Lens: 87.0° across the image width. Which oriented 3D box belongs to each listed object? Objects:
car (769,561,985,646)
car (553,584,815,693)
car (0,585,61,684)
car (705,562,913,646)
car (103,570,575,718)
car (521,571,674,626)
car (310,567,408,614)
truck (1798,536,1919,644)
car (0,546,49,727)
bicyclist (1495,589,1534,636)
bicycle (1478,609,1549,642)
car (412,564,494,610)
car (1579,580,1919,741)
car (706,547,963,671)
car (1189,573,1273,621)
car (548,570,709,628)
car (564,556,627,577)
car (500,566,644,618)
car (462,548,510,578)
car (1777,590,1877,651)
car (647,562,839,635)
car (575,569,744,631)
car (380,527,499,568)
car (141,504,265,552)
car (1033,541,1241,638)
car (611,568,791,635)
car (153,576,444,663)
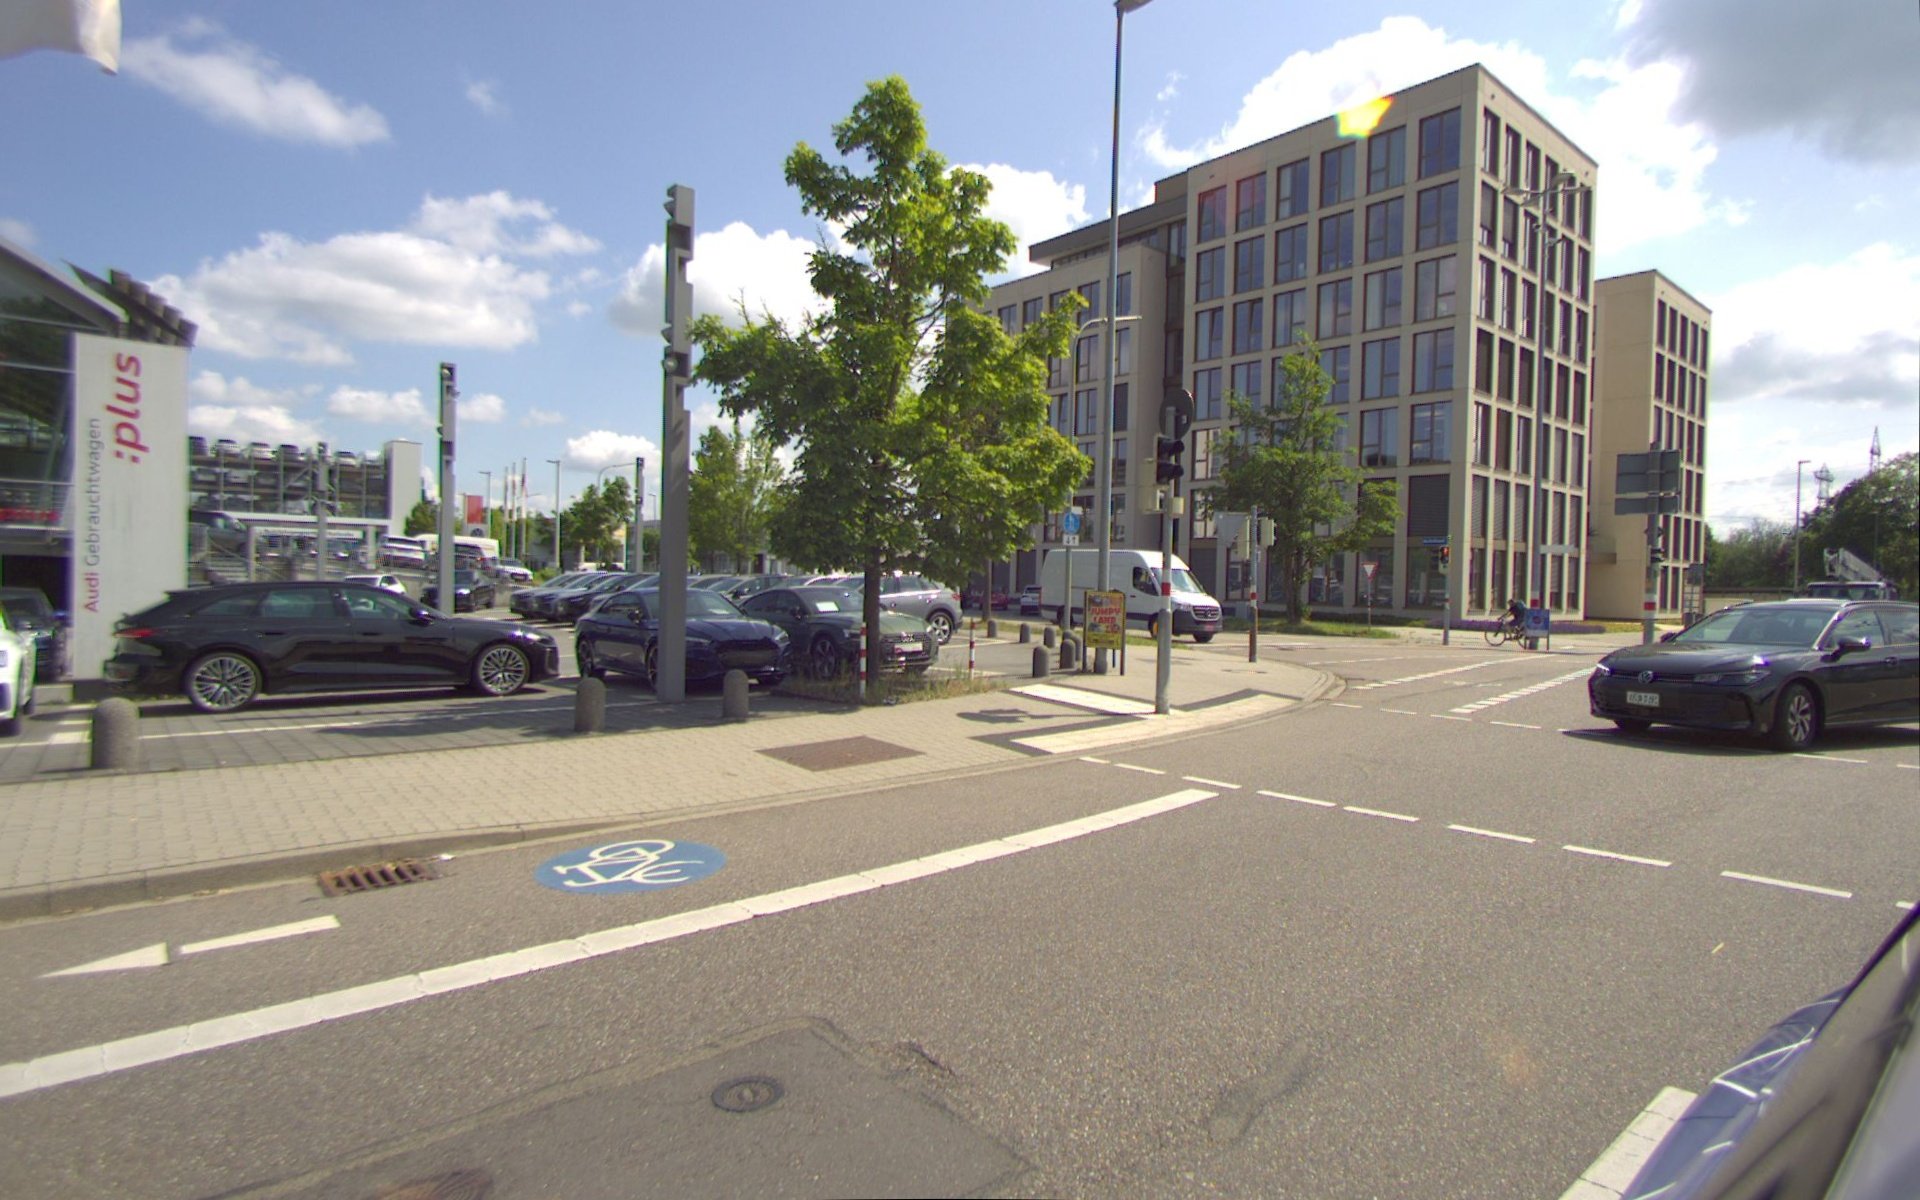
[{"bbox_3d":[-1.773,0.023,22.438,4.508,1.699,1.905,-1,1,-39],"label":"car"},{"bbox_3d":[-4.127,0.465,14.620,1.873,1.314,4.583,2,-1,-40],"label":"car"},{"bbox_3d":[-17.087,0.539,17.723,1.873,1.517,4.355,0,2,-40],"label":"car"},{"bbox_3d":[-3.506,0.032,24.008,4.509,1.698,1.905,-4,3,-39],"label":"car"},{"bbox_3d":[-7.366,0.467,12.358,4.671,1.483,1.793,0,-2,-40],"label":"car"},{"bbox_3d":[-12.332,-0.009,34.585,4.506,1.699,1.905,2,-1,-39],"label":"car"},{"bbox_3d":[-23.576,-0.336,39.895,1.867,1.699,4.598,2,-1,-12],"label":"car"},{"bbox_3d":[34.022,-0.203,38.068,9.617,3.600,2.669,2,-1,-43],"label":"truck"},{"bbox_3d":[-9.701,0.355,9.346,1.764,1.483,3.993,0,-2,-40],"label":"car"},{"bbox_3d":[18.183,0.395,33.171,0.626,1.496,0.916,2,-1,-33],"label":"bicyclist"},{"bbox_3d":[18.149,0.831,33.202,0.636,1.024,1.979,2,-1,-32],"label":"bicycle"},{"bbox_3d":[-20.797,-0.493,41.744,1.867,1.699,4.598,2,-1,-12],"label":"car"},{"bbox_3d":[9.498,0.615,11.077,5.094,1.497,1.818,2,0,-20],"label":"car"},{"bbox_3d":[-2.161,0.120,16.255,1.873,1.699,4.583,2,-1,-40],"label":"car"},{"bbox_3d":[12.533,-0.106,46.686,3.933,2.039,1.995,2,-1,-44],"label":"car"},{"bbox_3d":[-10.574,-0.001,32.480,4.506,1.699,1.905,2,-1,-39],"label":"car"},{"bbox_3d":[-41.325,-3.728,114.747,6.244,2.039,2.571,2,-1,-38],"label":"car"},{"bbox_3d":[-14.032,-0.262,36.744,4.506,1.699,1.905,2,-1,-39],"label":"car"},{"bbox_3d":[-27.178,-2.074,57.987,1.538,1.572,3.597,3,-1,-41],"label":"car"},{"bbox_3d":[28.482,0.687,33.189,4.908,1.861,1.995,2,-1,-43],"label":"car"},{"bbox_3d":[-5.621,0.002,26.484,4.506,1.699,1.905,2,-1,-39],"label":"car"},{"bbox_3d":[-9.046,0.036,30.647,4.506,1.699,1.905,2,-1,-39],"label":"car"},{"bbox_3d":[-32.438,-3.235,63.239,6.295,2.129,1.762,2,-1,-41],"label":"car"},{"bbox_3d":[-34.671,-3.245,46.406,4.378,1.824,1.762,2,-1,-42],"label":"car"},{"bbox_3d":[5.198,-0.296,31.018,2.098,2.640,6.866,2,-1,-33],"label":"car"},{"bbox_3d":[-7.233,0.082,28.512,4.506,1.699,1.905,2,-1,-39],"label":"car"},{"bbox_3d":[-13.038,0.369,20.099,4.671,1.530,1.982,0,-2,-40],"label":"car"}]
